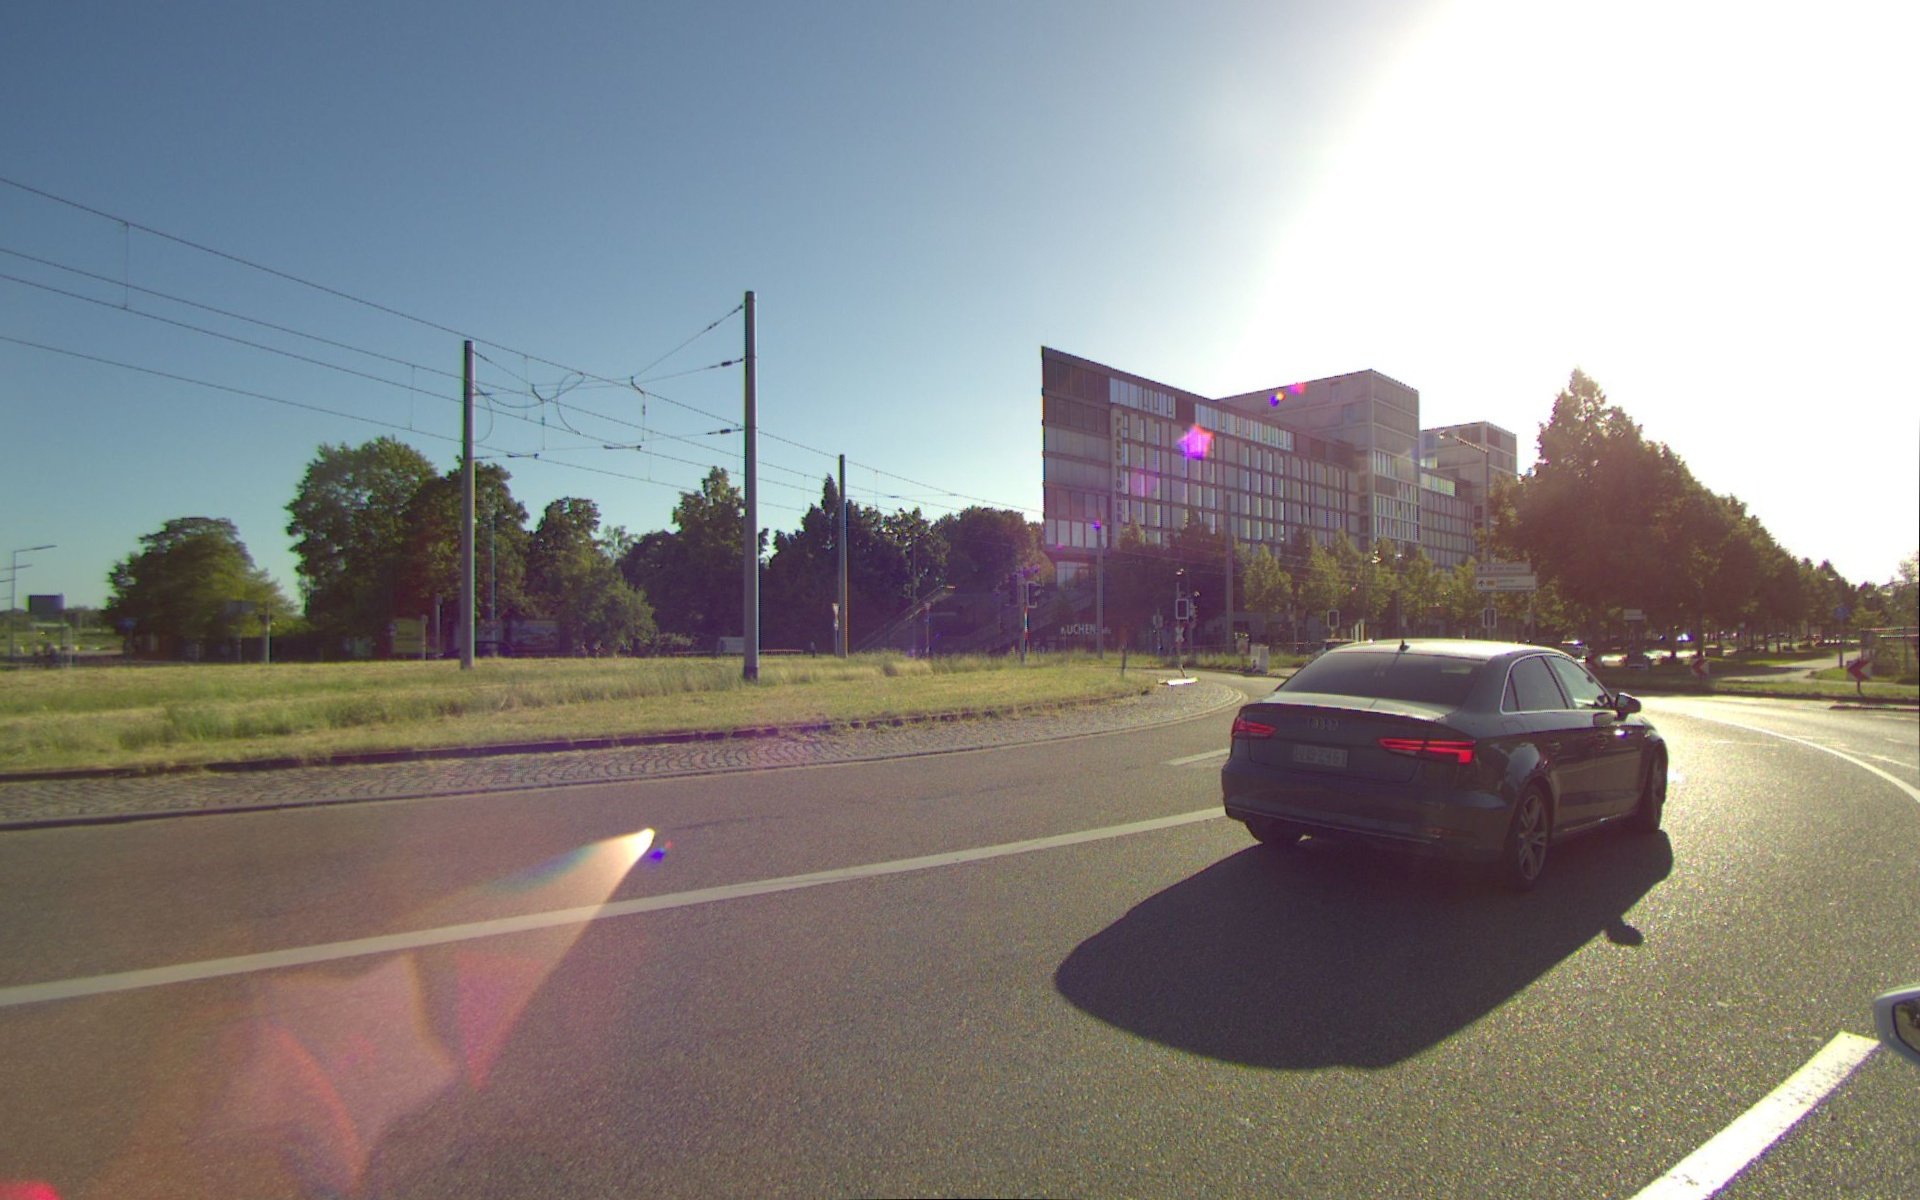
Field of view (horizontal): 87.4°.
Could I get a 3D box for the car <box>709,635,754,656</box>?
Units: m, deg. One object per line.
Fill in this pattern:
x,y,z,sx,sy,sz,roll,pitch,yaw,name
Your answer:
-21.153,4.193,93.051,3.670,1.829,1.839,-1,-2,0,car

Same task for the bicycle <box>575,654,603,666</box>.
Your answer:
-26.630,4.299,72.110,1.860,0.864,0.615,0,-2,-20,bicycle

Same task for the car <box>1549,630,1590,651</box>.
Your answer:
50.561,3.343,83.268,1.973,1.596,4.381,-3,-3,44,car

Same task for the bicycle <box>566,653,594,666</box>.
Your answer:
-27.506,4.304,72.793,1.860,0.864,0.615,0,-2,-20,bicycle

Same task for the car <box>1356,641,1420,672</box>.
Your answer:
23.490,3.060,55.035,1.971,1.596,4.386,-2,-2,41,car

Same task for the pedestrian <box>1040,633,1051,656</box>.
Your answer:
7.584,3.935,89.342,0.828,2.040,0.632,2,-2,-43,pedestrian

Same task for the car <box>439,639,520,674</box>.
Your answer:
-25.812,3.014,54.095,3.865,1.808,1.764,0,-2,-25,car

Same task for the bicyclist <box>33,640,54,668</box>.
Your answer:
-52.475,3.097,57.514,0.829,1.601,0.654,1,-2,-44,bicyclist

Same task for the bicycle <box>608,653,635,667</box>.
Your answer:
-25.233,4.445,74.938,1.835,1.025,0.586,1,-2,-6,bicycle

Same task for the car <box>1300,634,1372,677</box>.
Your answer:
14.556,2.124,39.046,1.772,1.481,3.811,0,0,7,car

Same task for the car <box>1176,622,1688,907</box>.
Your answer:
3.523,0.858,7.073,4.326,1.398,1.744,1,-2,-42,car

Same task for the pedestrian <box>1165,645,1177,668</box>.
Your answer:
13.740,3.698,65.388,0.548,1.485,0.673,-1,-2,43,pedestrian

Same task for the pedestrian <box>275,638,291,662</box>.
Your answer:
-57.187,4.235,84.889,0.806,2.040,0.897,-1,-2,40,pedestrian

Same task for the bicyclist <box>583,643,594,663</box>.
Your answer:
-26.675,3.810,72.089,0.708,1.411,0.615,0,-2,-19,bicyclist

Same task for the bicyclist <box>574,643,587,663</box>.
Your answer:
-27.513,3.814,72.808,0.824,1.411,0.615,0,-2,-19,bicyclist

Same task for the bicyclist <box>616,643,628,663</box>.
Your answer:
-25.219,3.979,74.948,0.742,1.487,0.586,1,-2,-6,bicyclist

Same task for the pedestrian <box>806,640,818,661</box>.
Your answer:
-11.695,3.949,79.124,0.750,1.651,0.881,0,-2,-22,pedestrian

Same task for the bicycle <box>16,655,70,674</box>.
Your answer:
-52.500,3.691,57.505,2.248,1.001,0.654,1,-2,-45,bicycle
